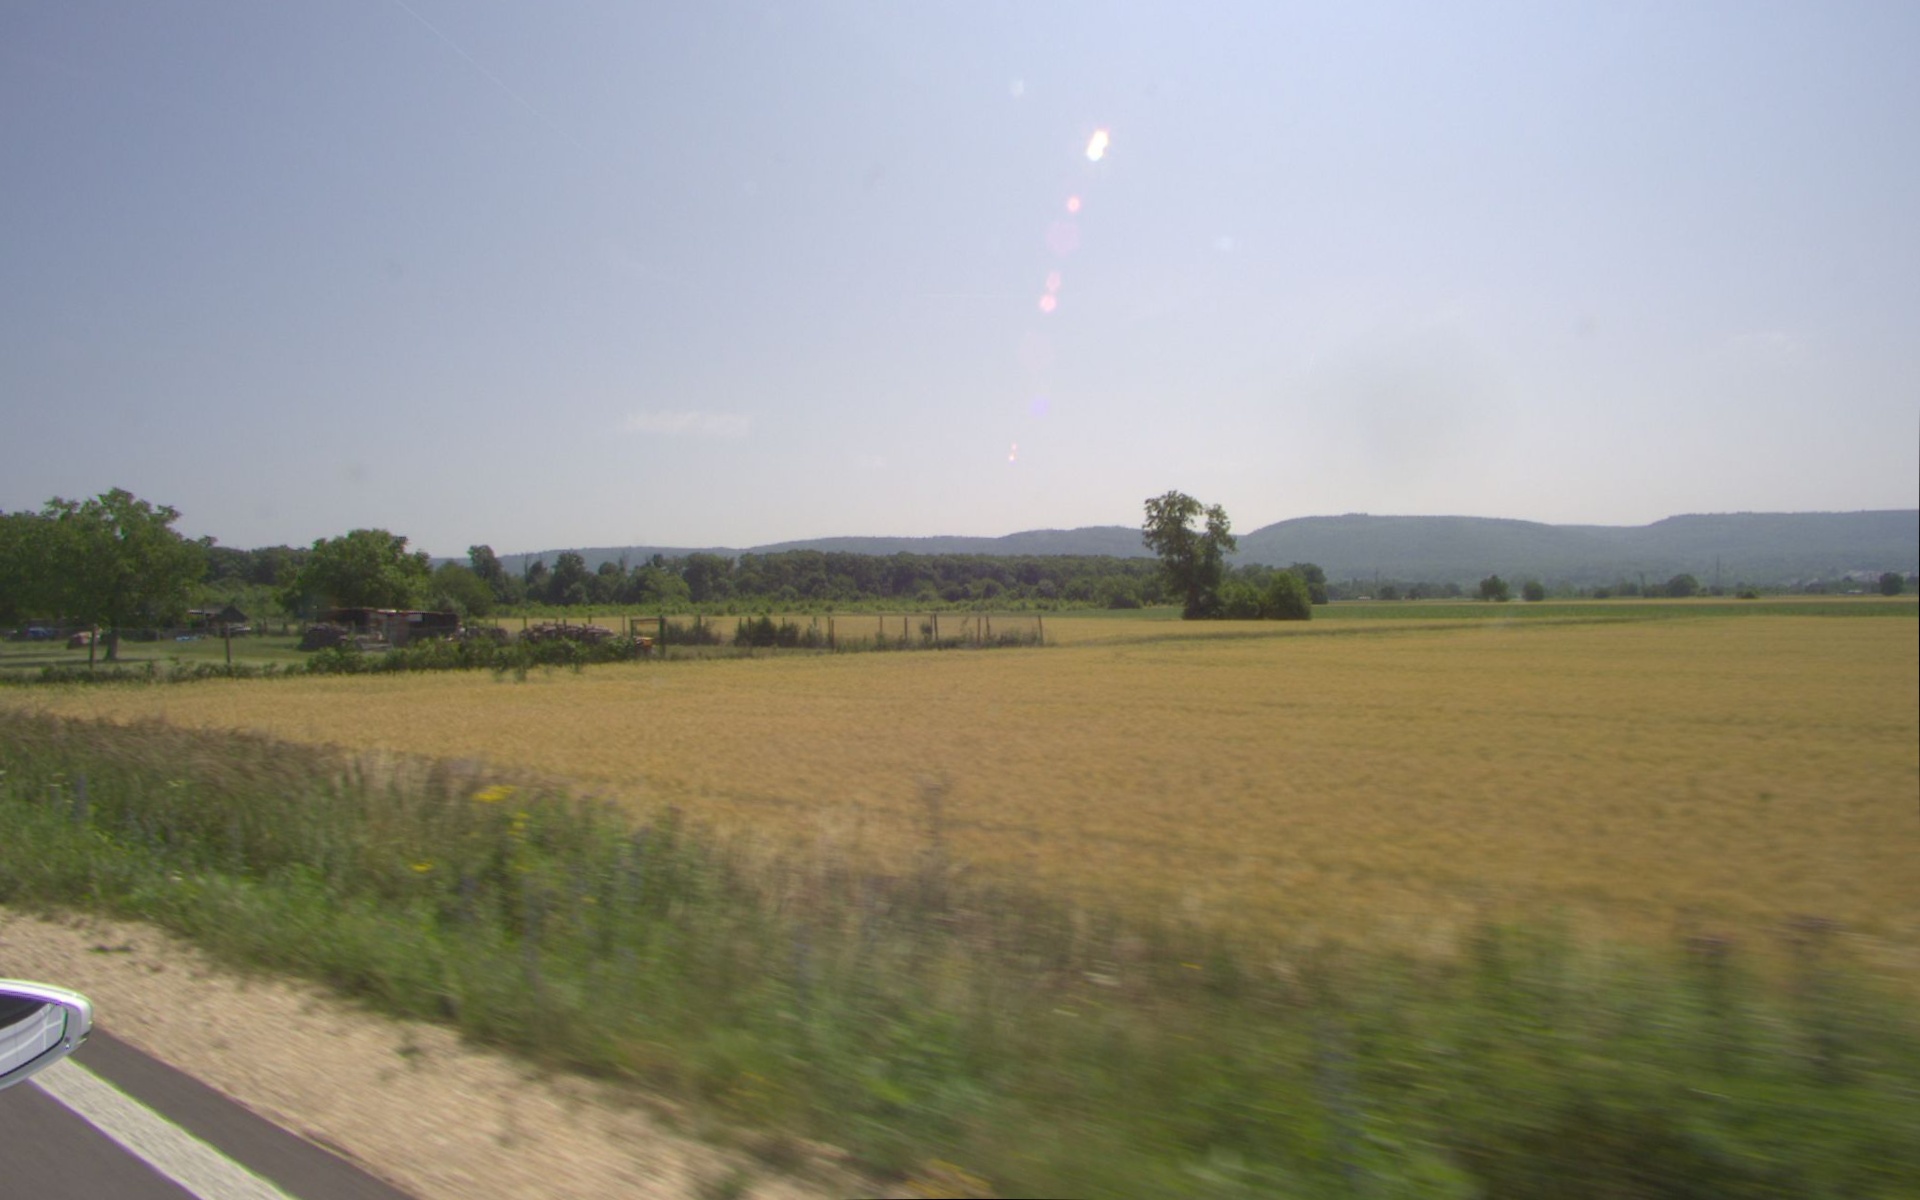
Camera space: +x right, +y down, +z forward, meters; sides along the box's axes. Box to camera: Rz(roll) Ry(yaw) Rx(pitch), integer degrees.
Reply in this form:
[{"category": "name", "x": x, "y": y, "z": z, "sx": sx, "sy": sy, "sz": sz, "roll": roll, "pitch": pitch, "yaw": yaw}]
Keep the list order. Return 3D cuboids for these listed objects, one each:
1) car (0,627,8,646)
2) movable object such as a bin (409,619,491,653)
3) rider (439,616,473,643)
[{"category": "car", "x": -80.869, "y": 3.006, "z": 83.094, "sx": 3.371, "sy": 1.505, "sz": 1.593, "roll": 0, "pitch": 0, "yaw": 25}, {"category": "movable object such as a bin", "x": -23.548, "y": 1.636, "z": 46.235, "sx": 3.602, "sy": 1.516, "sz": 1.569, "roll": -1, "pitch": -1, "yaw": 28}, {"category": "rider", "x": -23.127, "y": 1.356, "z": 45.928, "sx": 0.970, "sy": 1.233, "sz": 1.024, "roll": -1, "pitch": 0, "yaw": 26}]
